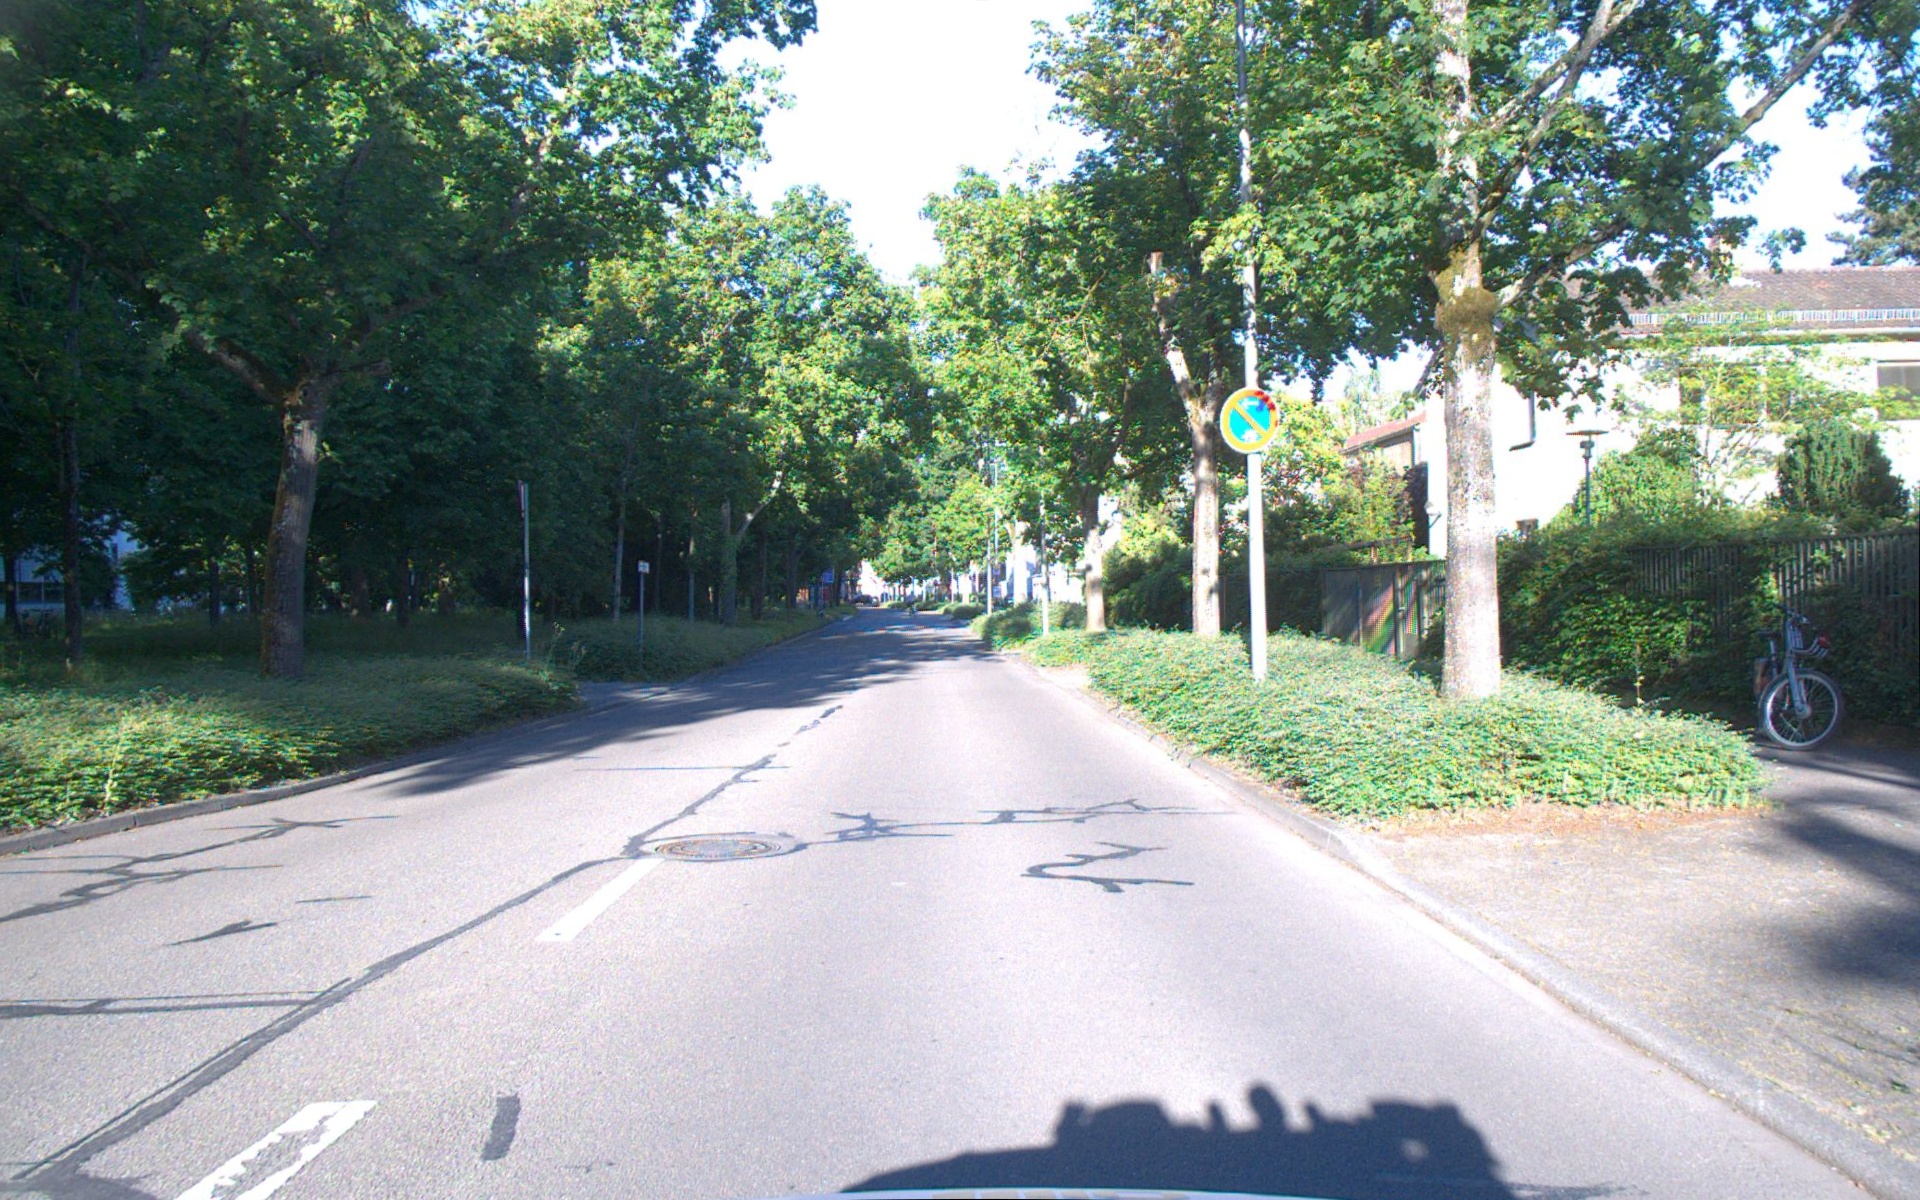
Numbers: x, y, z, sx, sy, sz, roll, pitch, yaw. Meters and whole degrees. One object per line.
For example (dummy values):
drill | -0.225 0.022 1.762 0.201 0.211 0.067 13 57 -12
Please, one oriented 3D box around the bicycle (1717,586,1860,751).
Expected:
bicycle | 6.977 0.538 14.038 0.865 1.221 2.326 -3 0 23

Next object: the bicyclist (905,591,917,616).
bicyclist | -3.390 0.221 114.339 0.849 1.669 1.114 0 1 -2

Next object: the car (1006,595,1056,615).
car | 6.187 0.413 143.477 4.259 1.377 2.145 3 3 4

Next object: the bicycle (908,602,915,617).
bicycle | -3.355 0.635 114.296 0.430 0.995 1.661 -1 1 -2
